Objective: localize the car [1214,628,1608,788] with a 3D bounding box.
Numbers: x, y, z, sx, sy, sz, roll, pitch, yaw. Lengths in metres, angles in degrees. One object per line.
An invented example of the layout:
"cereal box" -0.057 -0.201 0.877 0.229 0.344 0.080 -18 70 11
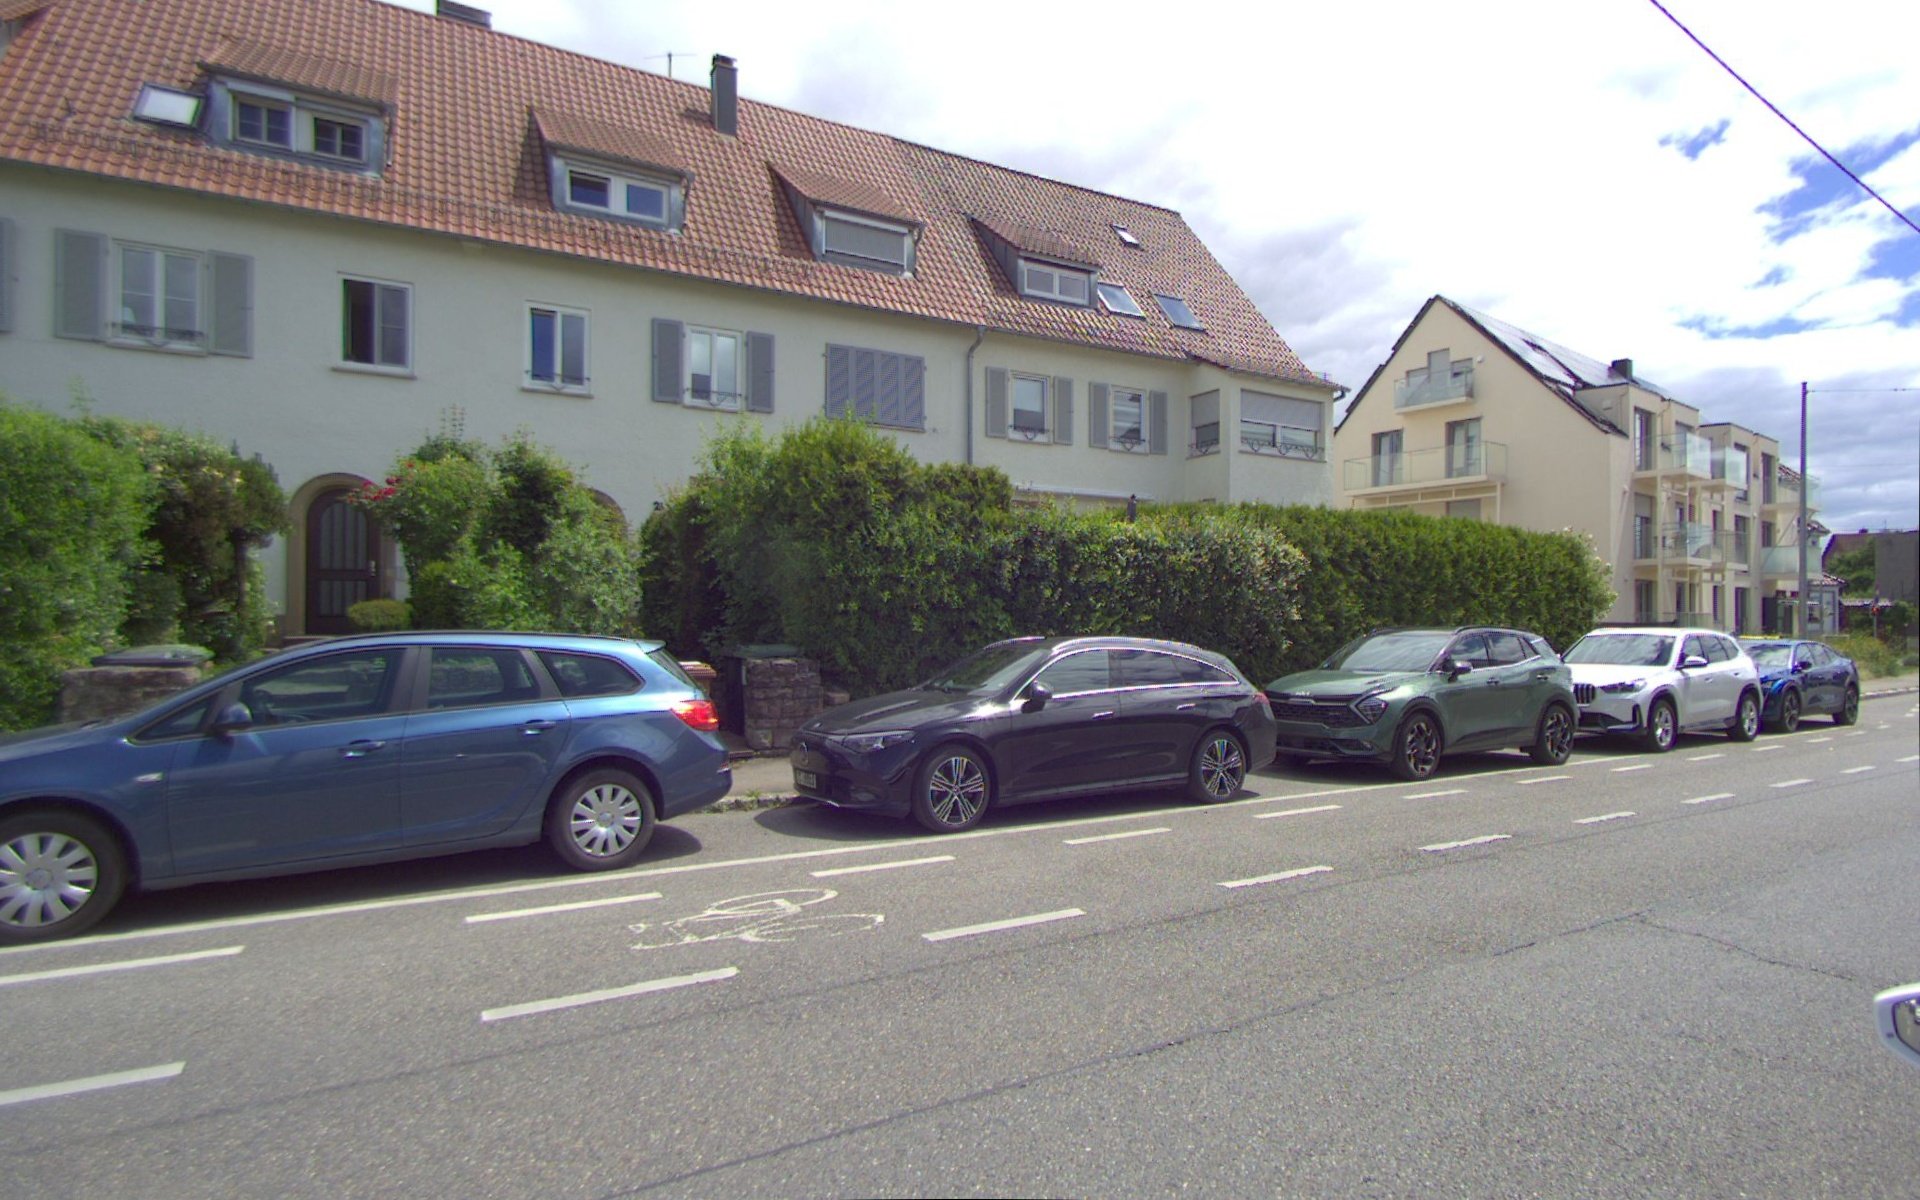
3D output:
"car" 5.450 1.143 12.019 4.633 1.584 1.985 1 -2 -30

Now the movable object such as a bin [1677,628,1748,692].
"movable object such as a bin" 18.418 1.446 24.586 1.201 1.501 1.059 1 -1 -33

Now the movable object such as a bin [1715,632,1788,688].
"movable object such as a bin" 19.641 1.471 24.939 1.200 1.330 1.060 1 -1 -30

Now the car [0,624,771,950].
"car" -3.646 0.926 6.310 4.518 1.511 1.767 2 -2 -34

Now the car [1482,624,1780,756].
"car" 9.898 1.206 14.746 4.466 1.672 1.983 1 -2 -32

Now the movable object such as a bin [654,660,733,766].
"movable object such as a bin" -2.796 1.161 10.524 0.629 1.016 0.573 1 0 -34

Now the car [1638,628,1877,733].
"car" 13.936 1.312 17.492 4.441 1.608 1.982 2 -2 -33

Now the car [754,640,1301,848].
"car" 0.688 1.092 9.071 4.633 1.427 1.985 1 -2 -30
